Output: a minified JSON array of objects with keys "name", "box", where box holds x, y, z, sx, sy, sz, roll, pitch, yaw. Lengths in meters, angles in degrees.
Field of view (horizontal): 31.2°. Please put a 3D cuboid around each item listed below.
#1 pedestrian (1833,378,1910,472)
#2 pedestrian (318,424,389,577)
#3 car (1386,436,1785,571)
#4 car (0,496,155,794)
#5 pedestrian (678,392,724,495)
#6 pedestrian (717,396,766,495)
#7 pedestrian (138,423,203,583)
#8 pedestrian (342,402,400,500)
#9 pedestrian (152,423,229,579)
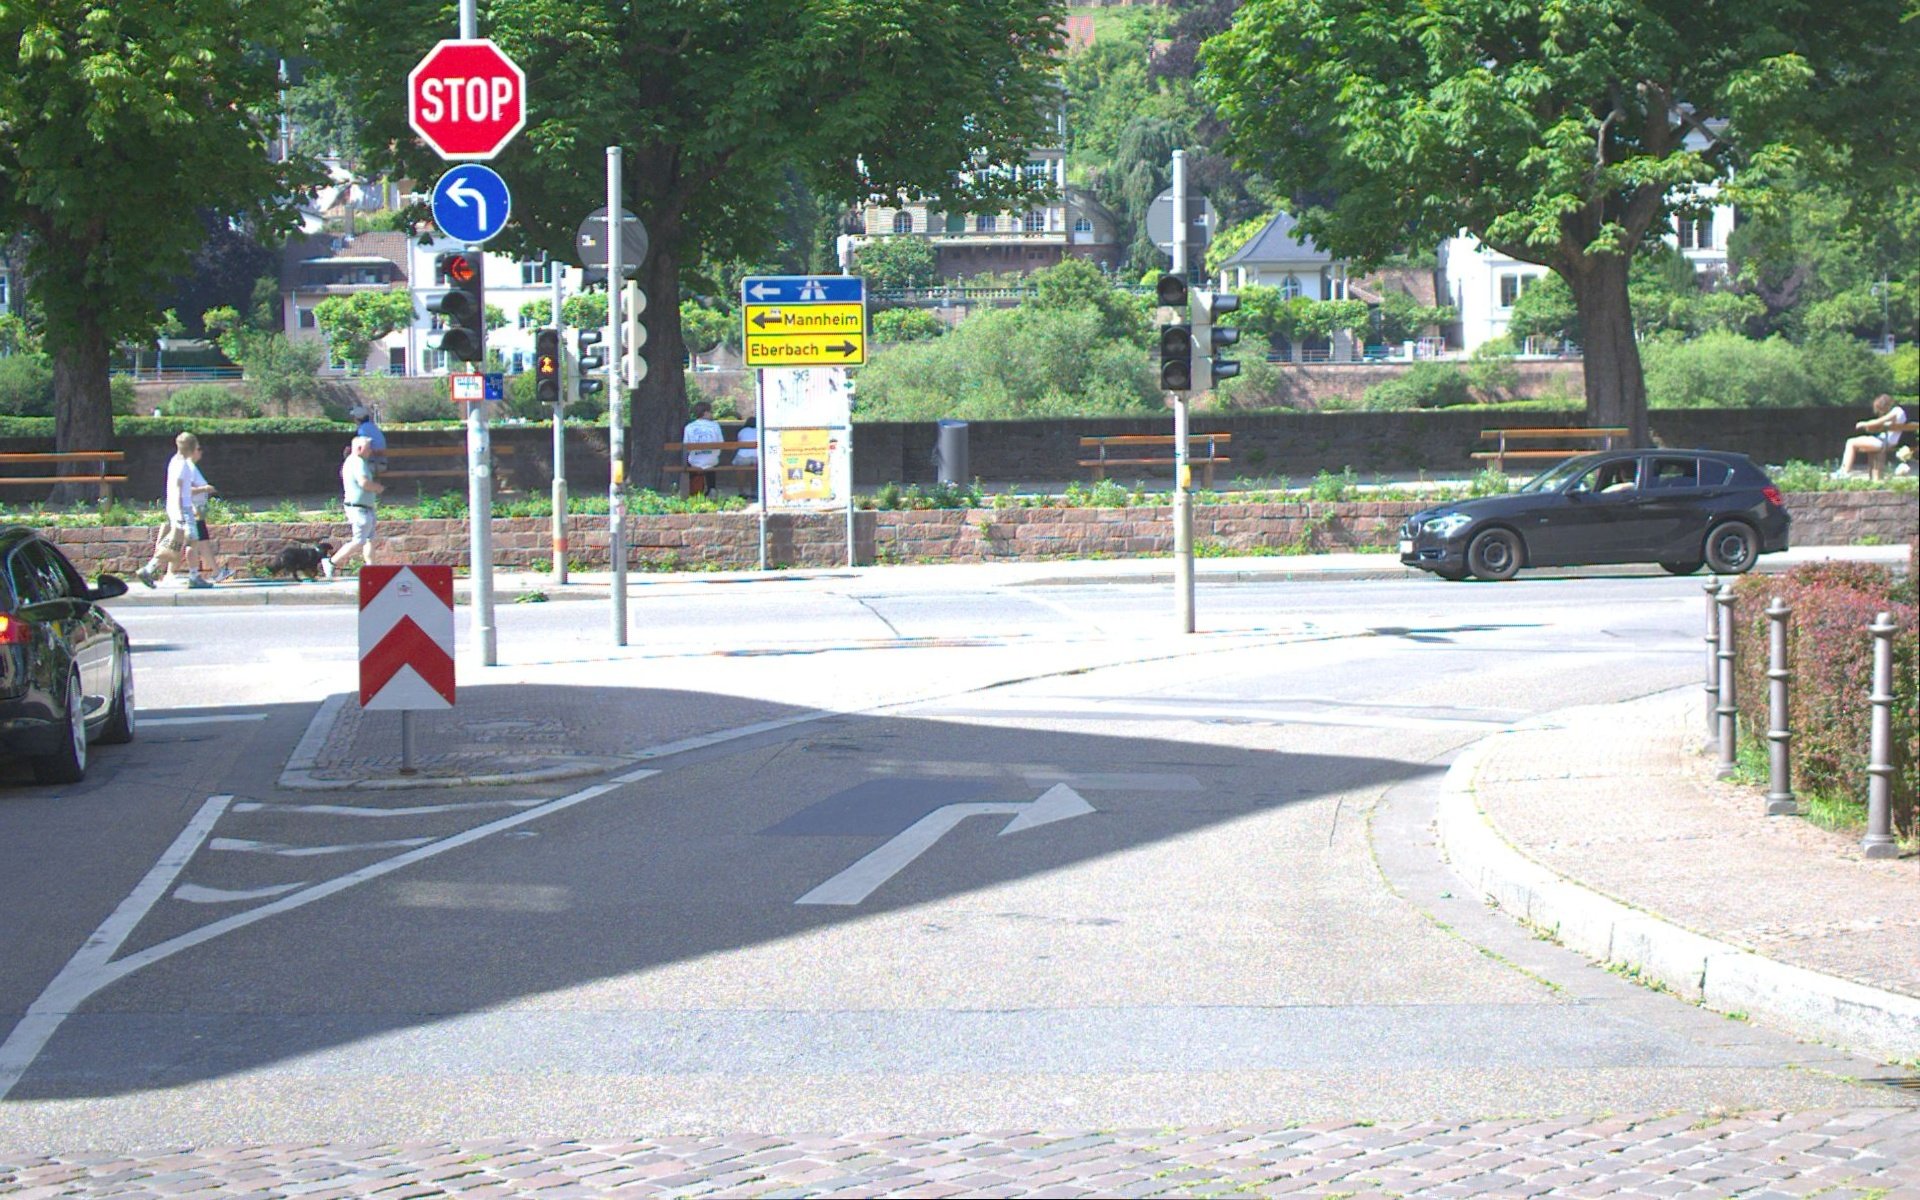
[{"name":"pedestrian","box":[12.319,-2.359,46.470,0.797,1.207,0.715,1,-1,-4]},{"name":"pedestrian","box":[-7.153,-1.173,40.567,0.688,1.763,0.717,-2,1,-3]},{"name":"car","box":[6.922,-1.091,38.264,3.986,1.413,1.875,-1,2,-6]},{"name":"car","box":[-5.820,0.198,19.940,1.714,1.457,4.726,-3,3,-8]},{"name":"pedestrian","box":[-3.351,-2.018,44.441,0.553,1.275,0.704,1,-1,-5]},{"name":"pedestrian","box":[-2.839,-1.999,44.671,0.553,1.224,0.986,1,0,-7]},{"name":"pedestrian","box":[-9.018,-1.112,39.300,0.578,1.795,0.705,-1,2,-4]},{"name":"pedestrian","box":[-7.478,-1.894,43.651,0.641,1.224,0.414,-2,2,-17]},{"name":"pedestrian","box":[-9.041,-1.168,40.409,0.721,1.795,0.634,-2,1,-4]}]
